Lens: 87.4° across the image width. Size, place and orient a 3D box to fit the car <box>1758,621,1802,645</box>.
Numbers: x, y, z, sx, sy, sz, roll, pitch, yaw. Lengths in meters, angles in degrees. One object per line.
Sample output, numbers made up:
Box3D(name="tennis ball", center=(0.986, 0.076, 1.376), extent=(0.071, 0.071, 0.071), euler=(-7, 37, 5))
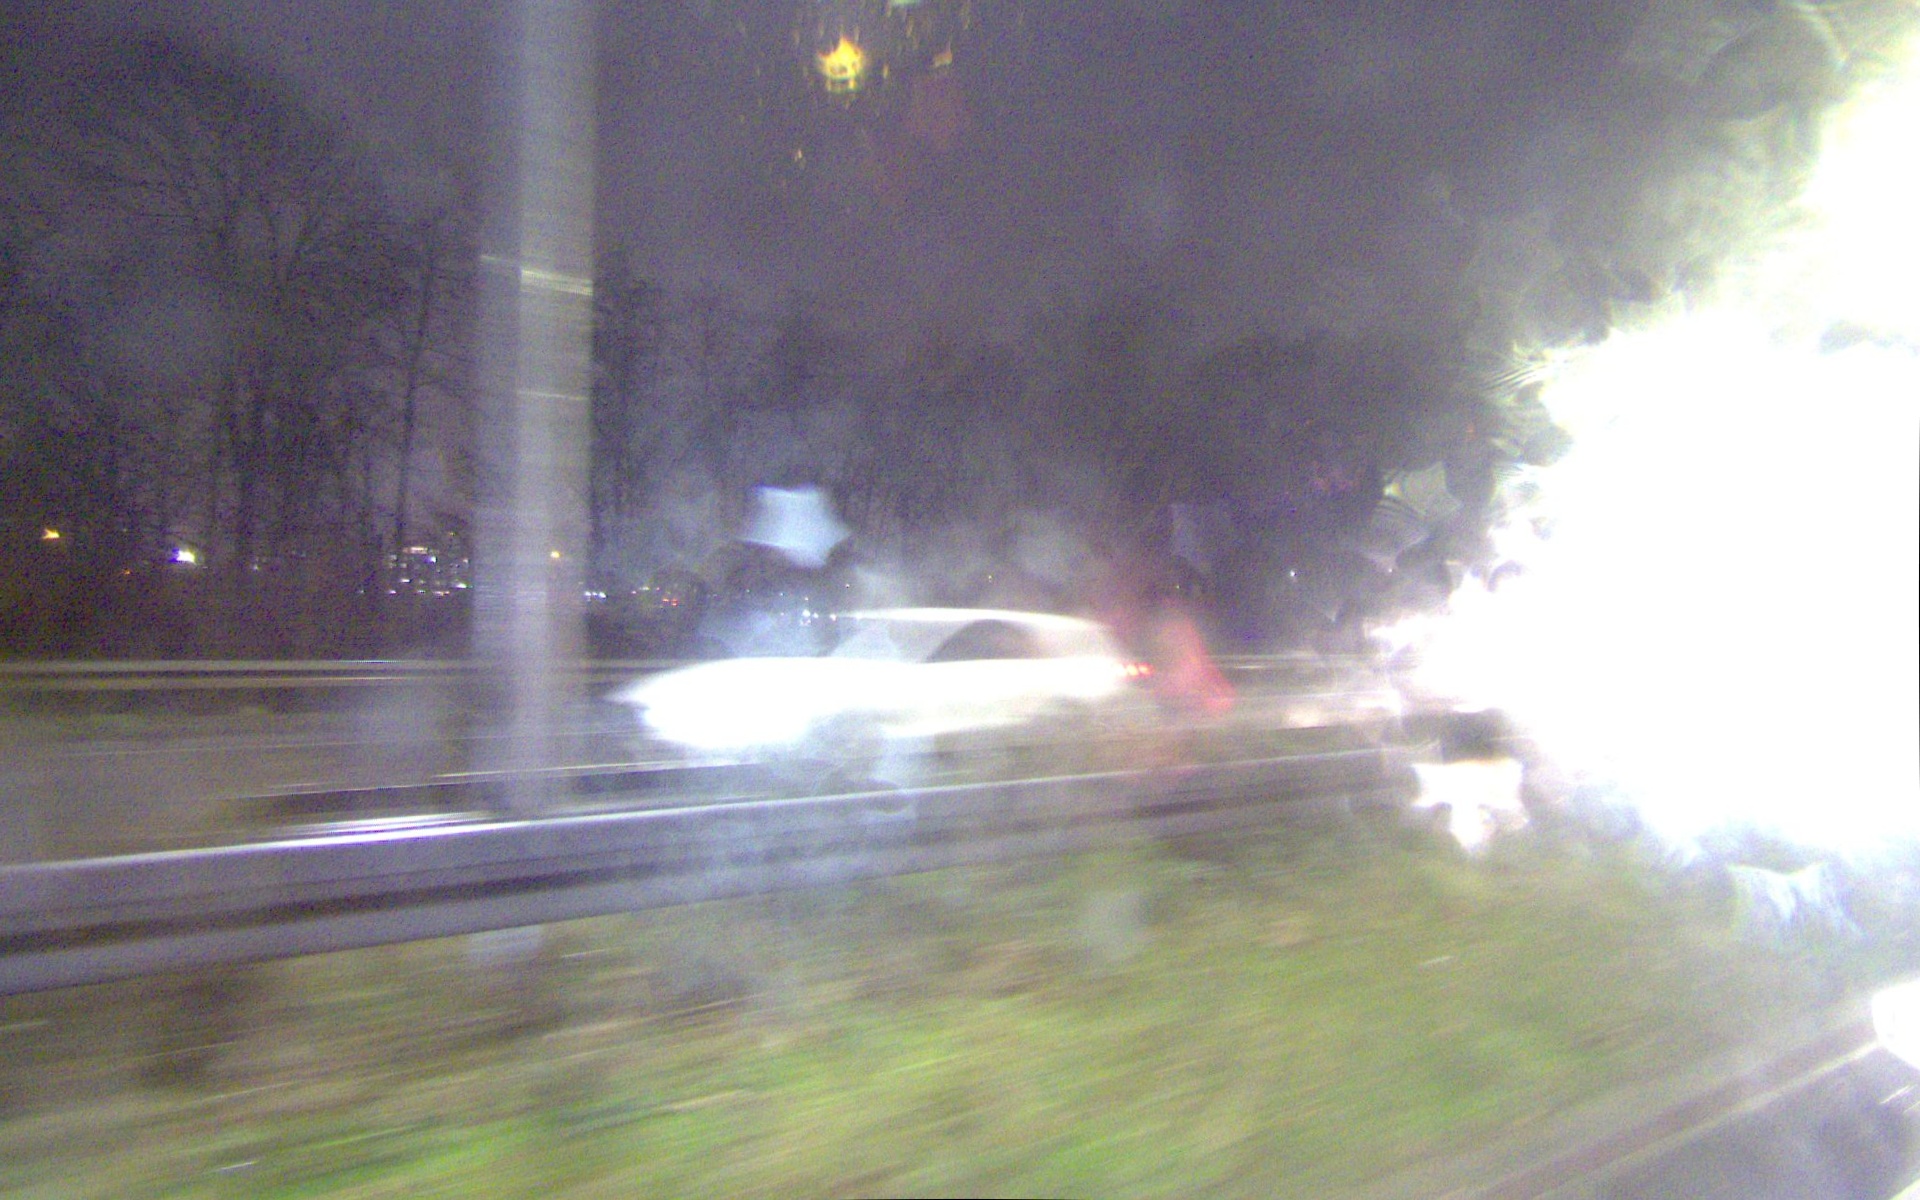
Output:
Box3D(name="car", center=(54.758, 2.227, 67.134), extent=(1.716, 1.522, 3.991), euler=(1, -1, 32))

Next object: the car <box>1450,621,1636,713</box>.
Box3D(name="car", center=(11.920, 1.299, 20.461), extent=(4.210, 1.653, 1.753), euler=(1, 0, -37))

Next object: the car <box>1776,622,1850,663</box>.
Box3D(name="car", center=(35.761, 1.777, 42.072), extent=(4.525, 1.614, 1.759), euler=(2, -2, -41))

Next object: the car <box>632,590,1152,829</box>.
Box3D(name="car", center=(-0.474, 0.829, 8.845), extent=(4.208, 1.629, 1.857), euler=(3, -1, -36))

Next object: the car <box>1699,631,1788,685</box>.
Box3D(name="car", center=(25.905, 1.862, 33.176), extent=(3.482, 1.592, 1.831), euler=(1, 0, -43))
